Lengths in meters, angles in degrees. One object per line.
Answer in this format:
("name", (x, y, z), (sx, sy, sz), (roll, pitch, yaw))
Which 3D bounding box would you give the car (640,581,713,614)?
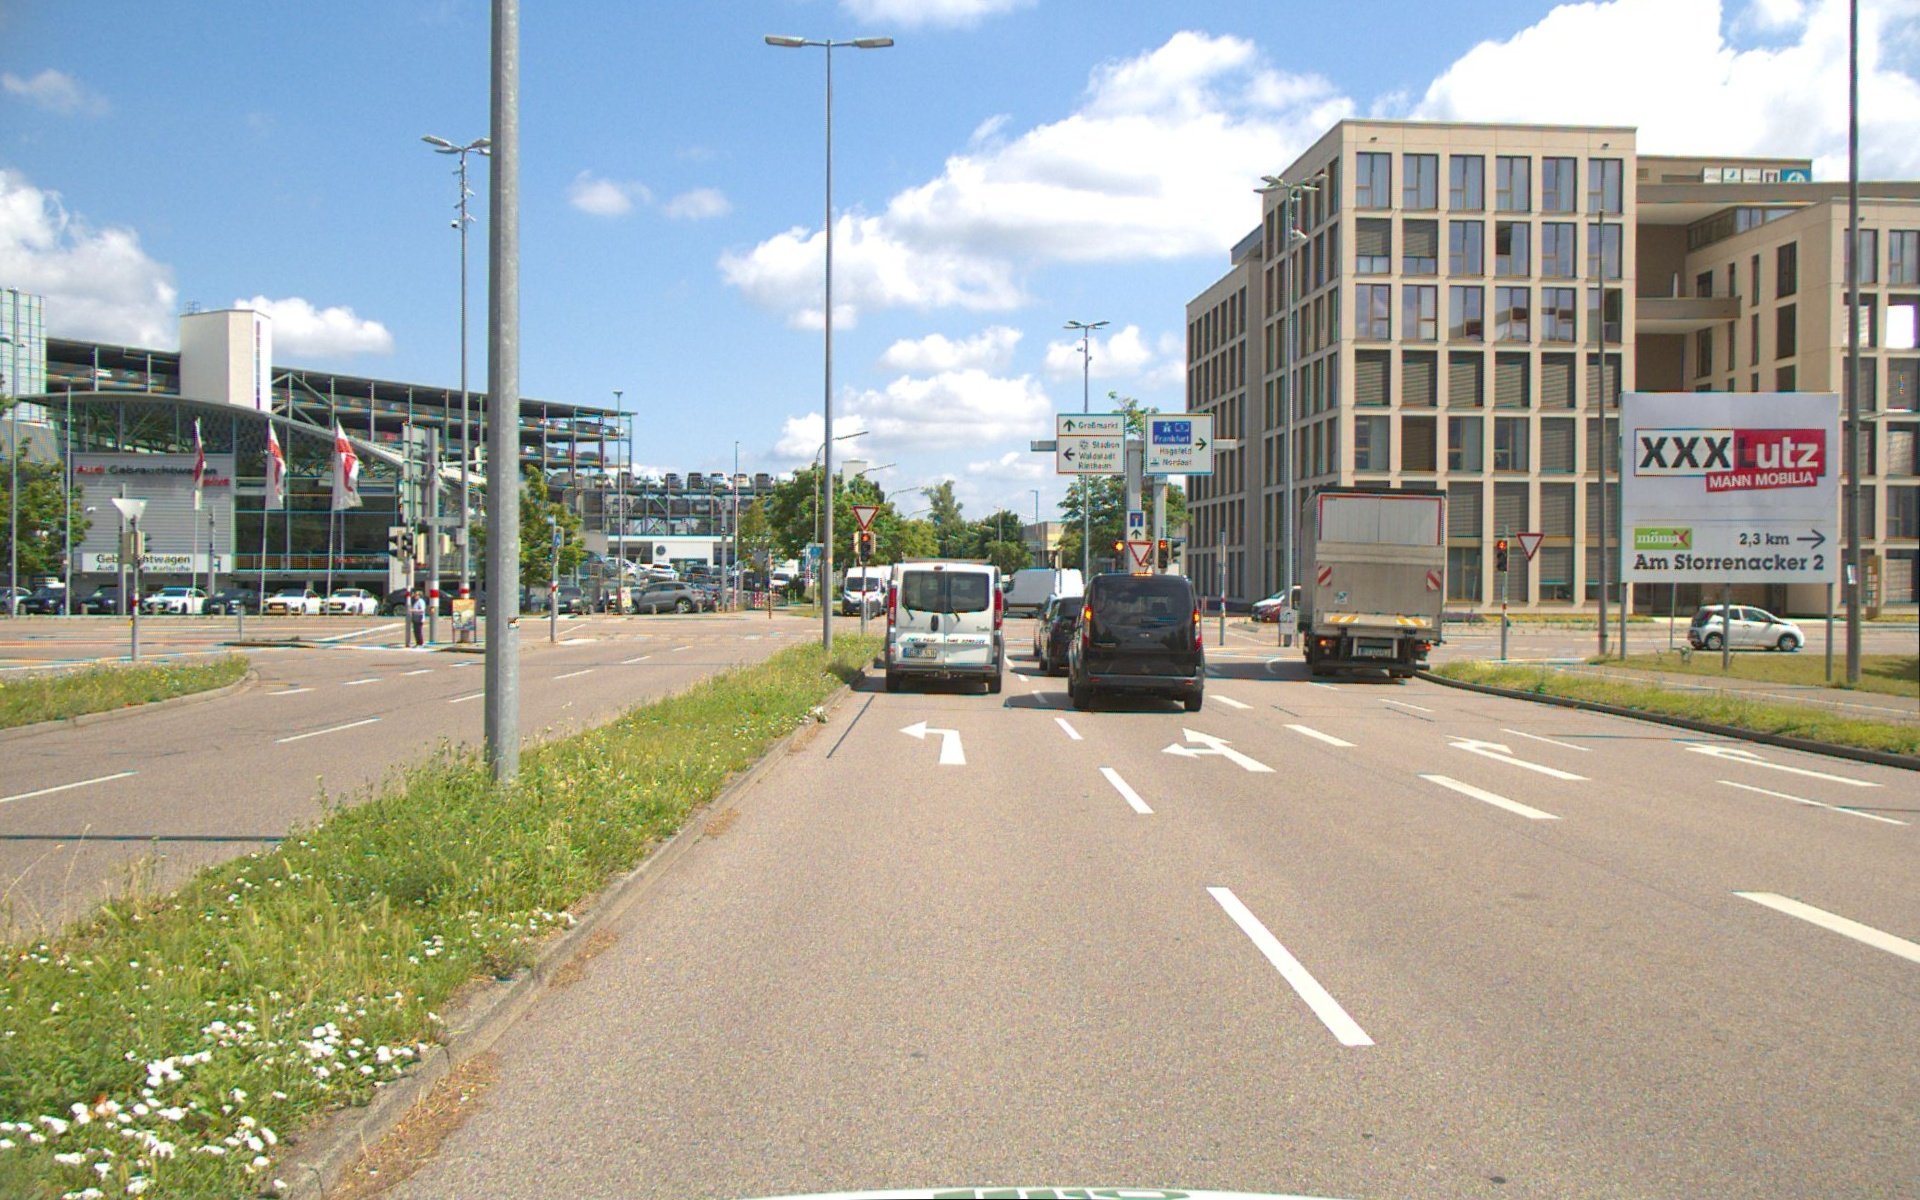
("car", (-15.737, -0.126, 91.935), (3.835, 1.742, 1.687), (-1, 1, -5))

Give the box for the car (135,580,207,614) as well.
("car", (-37.097, -0.170, 77.839), (1.842, 1.512, 3.698), (1, 1, -4))

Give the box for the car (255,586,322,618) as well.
("car", (-31.778, 0.070, 78.368), (1.870, 1.400, 3.749), (1, 1, -4))

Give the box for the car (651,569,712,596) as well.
("car", (-19.456, -1.213, 115.563), (4.085, 1.742, 1.687), (2, 1, -7))

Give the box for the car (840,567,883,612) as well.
("car", (-5.194, -0.610, 87.787), (1.931, 2.295, 4.980), (-1, 1, 0))

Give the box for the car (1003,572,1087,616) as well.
("car", (4.628, -0.373, 91.181), (1.973, 2.294, 5.459), (0, 1, -30))

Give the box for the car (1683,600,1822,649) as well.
("car", (26.082, 0.807, 54.501), (3.773, 1.492, 1.695), (1, 1, -1))

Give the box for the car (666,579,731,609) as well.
("car", (-16.271, -0.383, 103.043), (3.835, 1.742, 1.687), (-1, 1, -5))

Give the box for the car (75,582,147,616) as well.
("car", (-39.876, -0.072, 77.761), (1.693, 1.512, 3.698), (1, 1, -4))

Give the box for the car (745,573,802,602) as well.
("car", (-13.120, -0.858, 116.347), (3.911, 1.959, 1.824), (1, 0, -7))

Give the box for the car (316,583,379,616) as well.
("car", (-29.167, -0.028, 78.886), (1.741, 1.475, 4.026), (1, 1, -4))

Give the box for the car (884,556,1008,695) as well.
("car", (-0.163, 0.387, 26.903), (1.817, 2.053, 4.001), (1, 0, 1))

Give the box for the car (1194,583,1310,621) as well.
("car", (13.385, 0.069, 75.971), (4.883, 1.635, 1.999), (1, 1, -3))

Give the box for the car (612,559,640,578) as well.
("car", (-27.879, -2.651, 138.257), (1.810, 1.556, 3.996), (1, 1, -5))

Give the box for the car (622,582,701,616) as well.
("car", (-15.299, -0.070, 84.823), (3.786, 1.668, 1.856), (-1, 1, -5))

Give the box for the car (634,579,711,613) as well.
("car", (-15.173, -0.230, 87.486), (3.835, 1.742, 1.687), (-1, 1, -5))

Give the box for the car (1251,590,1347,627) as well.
("car", (14.755, 0.369, 72.109), (3.815, 1.516, 1.794), (1, 1, -2))

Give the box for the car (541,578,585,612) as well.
("car", (-19.204, -0.242, 79.901), (1.788, 1.579, 3.981), (1, 0, -17))

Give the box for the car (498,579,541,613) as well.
("car", (-21.127, -0.197, 79.230), (1.788, 1.579, 3.981), (1, 0, -17))

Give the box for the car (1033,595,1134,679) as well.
("car", (2.421, 0.701, 33.155), (1.704, 1.521, 4.000), (2, 0, 0))

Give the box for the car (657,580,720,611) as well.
("car", (-15.589, -0.272, 95.084), (3.439, 1.742, 1.602), (-1, 1, -5))

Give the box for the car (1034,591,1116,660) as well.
("car", (2.753, 0.598, 40.322), (1.704, 1.570, 4.000), (2, 0, 0))

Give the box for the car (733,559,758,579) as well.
("car", (-17.763, -2.567, 137.095), (1.810, 1.556, 3.996), (1, 1, -5))

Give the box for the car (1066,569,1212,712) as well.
("car", (2.502, 0.526, 23.937), (1.782, 1.840, 4.001), (2, 0, 2))

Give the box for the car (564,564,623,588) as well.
("car", (-27.443, -1.786, 123.821), (4.085, 1.743, 1.686), (1, 0, -7))

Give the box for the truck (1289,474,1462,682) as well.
("truck", (8.948, -0.451, 36.580), (3.063, 4.009, 8.865), (1, 0, 10))

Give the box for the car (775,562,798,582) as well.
("car", (-14.363, -2.334, 137.334), (1.810, 1.556, 3.996), (1, 1, -5))

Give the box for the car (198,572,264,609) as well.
("car", (-34.425, -0.454, 78.204), (1.722, 1.689, 3.613), (1, 1, -5))

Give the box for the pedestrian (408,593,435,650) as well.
("pedestrian", (-14.788, 0.592, 45.456), (0.460, 1.538, 0.511), (1, 0, 24))

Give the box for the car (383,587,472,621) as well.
("car", (-25.297, 0.172, 78.675), (3.719, 1.539, 1.677), (1, 1, -6))
